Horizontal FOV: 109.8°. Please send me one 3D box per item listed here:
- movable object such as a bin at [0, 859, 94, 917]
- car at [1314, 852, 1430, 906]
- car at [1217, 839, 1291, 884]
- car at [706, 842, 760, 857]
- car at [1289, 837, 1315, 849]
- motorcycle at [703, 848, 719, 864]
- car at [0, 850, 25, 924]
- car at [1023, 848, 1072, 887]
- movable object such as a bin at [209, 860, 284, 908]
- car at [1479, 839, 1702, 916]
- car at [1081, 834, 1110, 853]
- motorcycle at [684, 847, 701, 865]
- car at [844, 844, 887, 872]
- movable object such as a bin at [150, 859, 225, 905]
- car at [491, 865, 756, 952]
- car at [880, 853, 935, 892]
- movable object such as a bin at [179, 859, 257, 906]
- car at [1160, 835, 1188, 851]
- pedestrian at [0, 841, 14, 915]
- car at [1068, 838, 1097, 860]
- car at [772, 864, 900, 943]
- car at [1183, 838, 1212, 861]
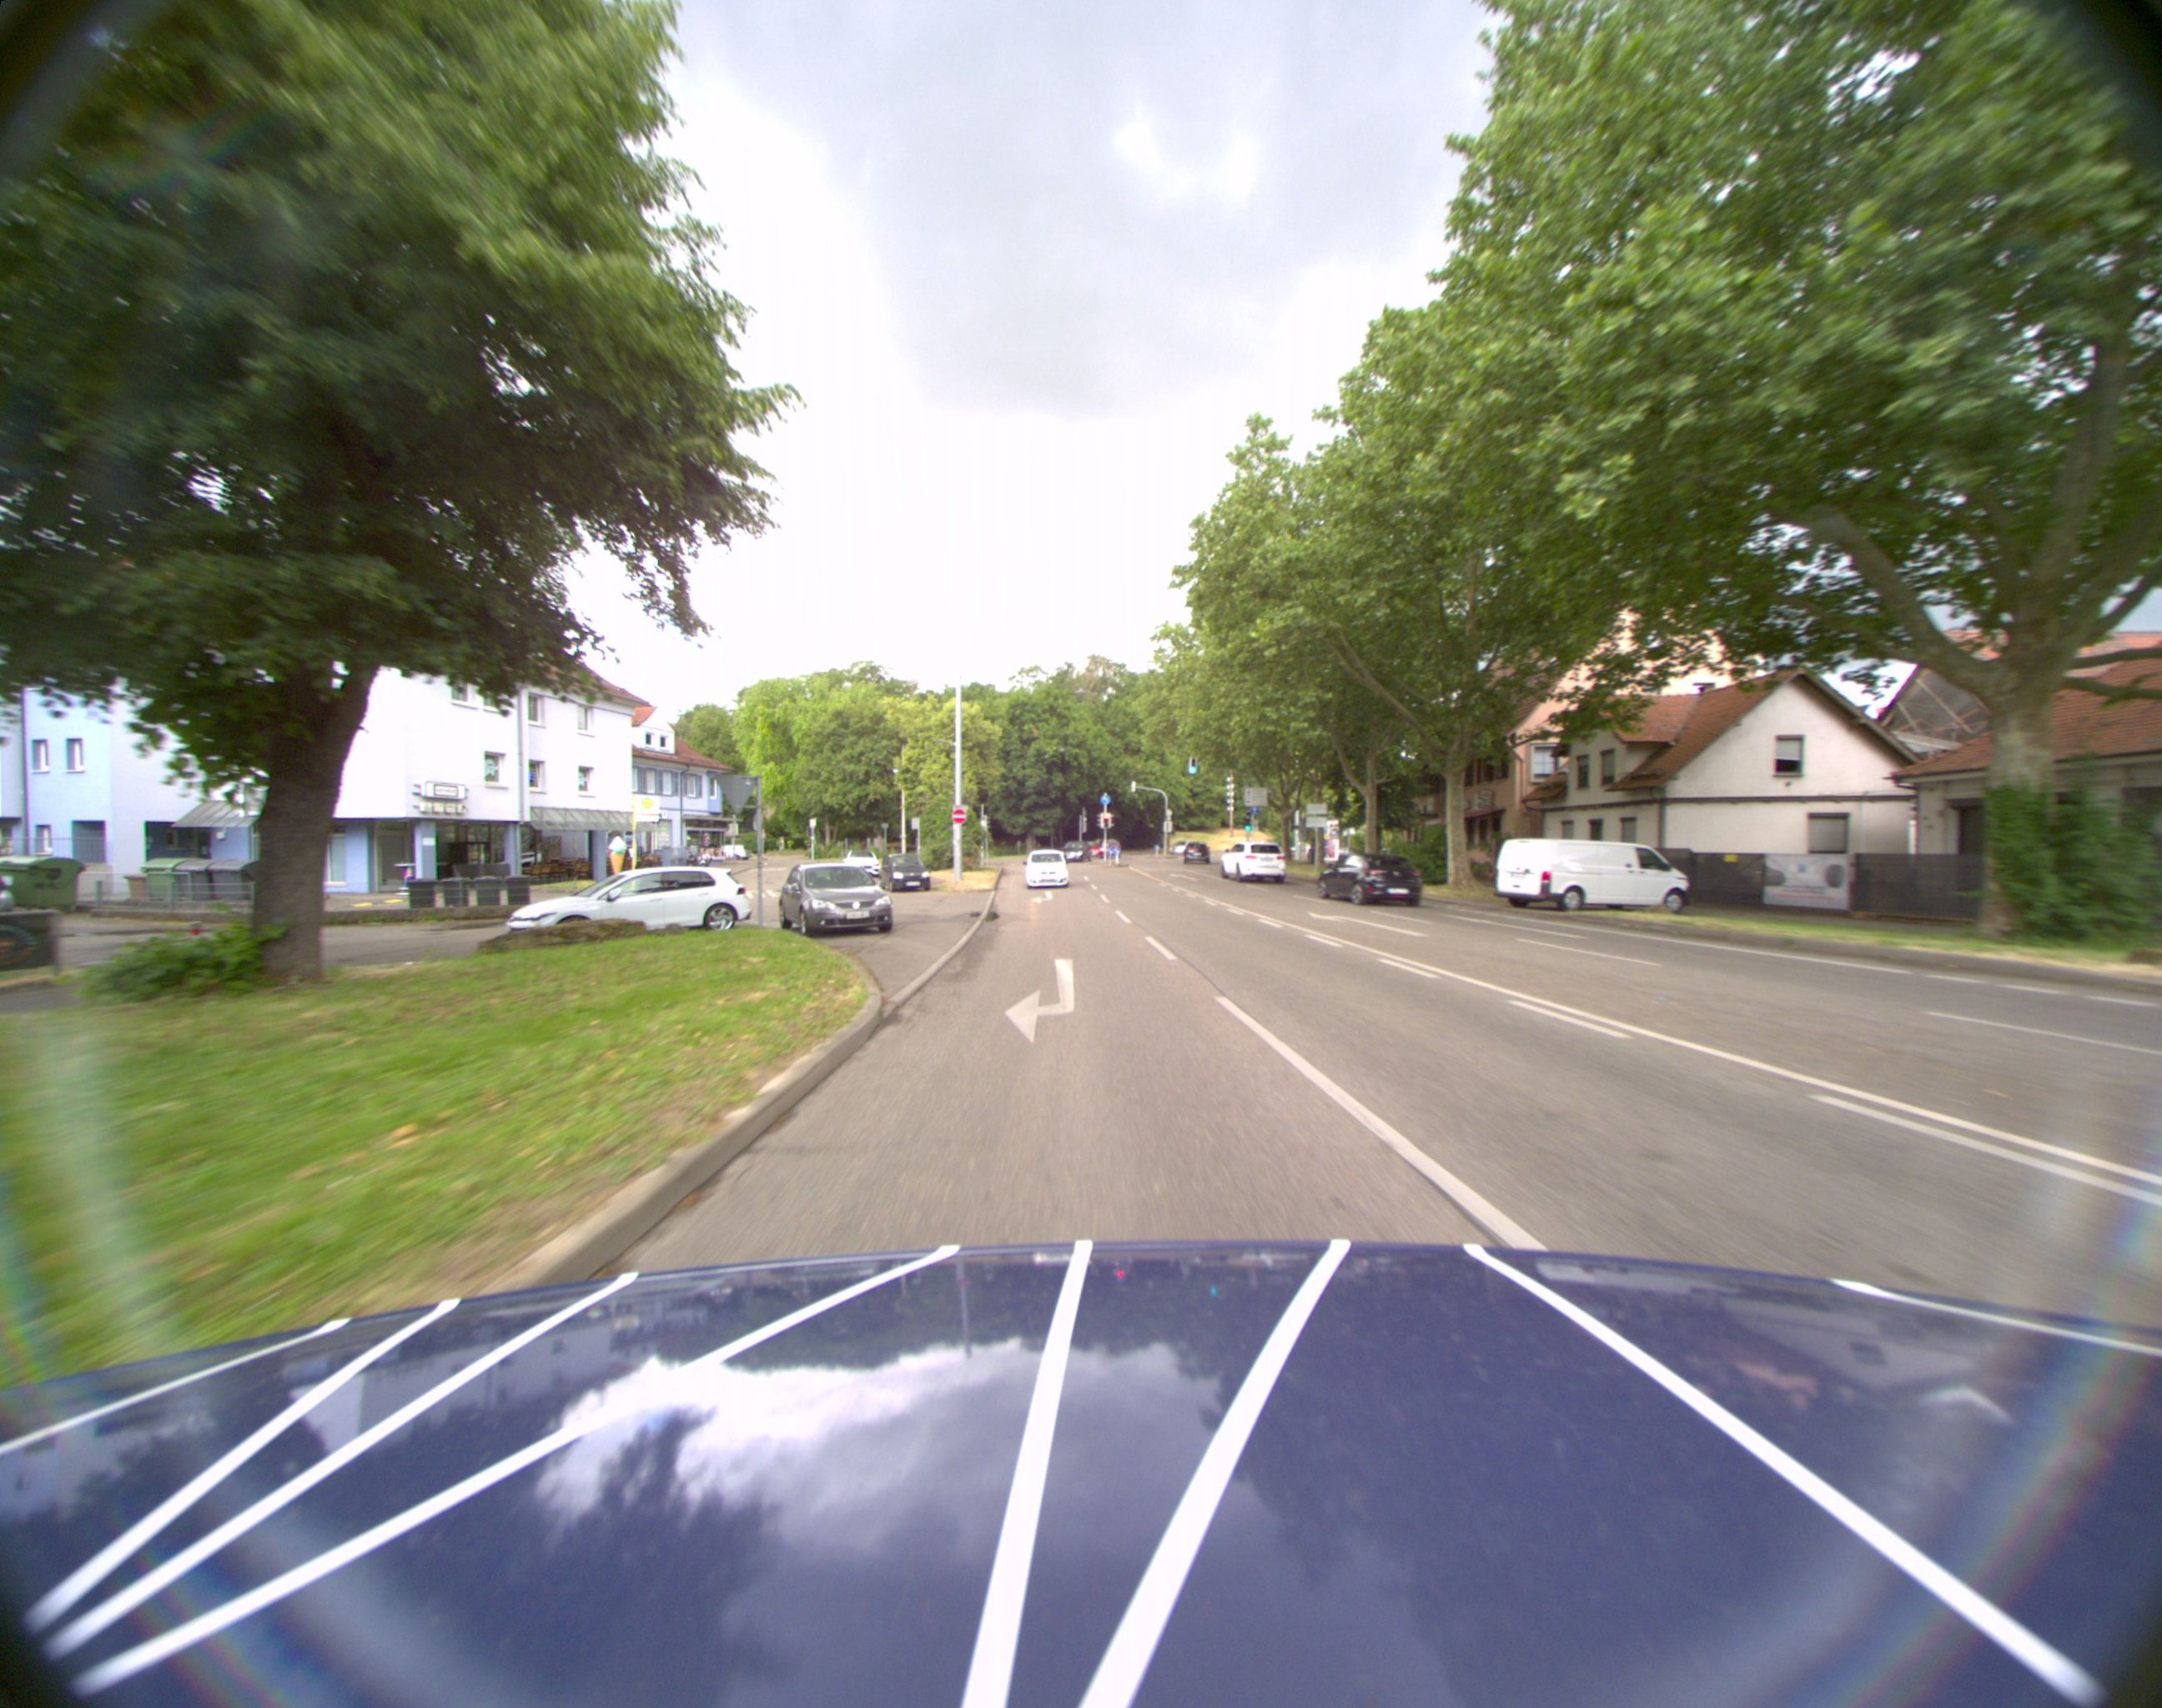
[{"bbox_3d":[-25.599,0.817,18.725,1.219,1.337,0.995,0,2,4],"label":"movable object such as a bin"},{"bbox_3d":[8.202,0.665,21.790,1.573,1.374,3.948,1,0,-4],"label":"car"},{"bbox_3d":[7.449,0.267,33.260,1.916,1.753,4.749,0,2,-3],"label":"car"},{"bbox_3d":[-34.142,-0.483,74.639,4.539,1.448,1.901,0,2,9],"label":"car"},{"bbox_3d":[27.961,-1.428,96.059,1.762,1.458,4.030,3,3,40],"label":"car"},{"bbox_3d":[-23.849,0.103,48.973,0.522,0.980,1.820,-1,2,-12],"label":"motorcycle"},{"bbox_3d":[-25.839,0.739,16.748,3.419,1.621,1.625,1,2,10],"label":"car"},{"bbox_3d":[-1.455,0.505,31.426,1.629,1.499,3.996,0,1,-8],"label":"car"},{"bbox_3d":[-26.232,0.913,23.902,1.216,1.408,1.095,1,2,13],"label":"movable object such as a bin"},{"bbox_3d":[13.996,0.627,20.954,5.246,1.920,2.081,2,1,-15],"label":"car"},{"bbox_3d":[1.356,-0.976,67.661,1.673,1.632,4.104,1,2,14],"label":"car"},{"bbox_3d":[-23.543,0.137,46.031,0.490,1.025,1.722,0,2,-12],"label":"motorcycle"},{"bbox_3d":[-12.512,0.181,43.937,2.002,1.379,4.778,0,2,-20],"label":"car"},{"bbox_3d":[-28.826,0.876,24.538,1.216,1.387,1.095,1,2,13],"label":"movable object such as a bin"},{"bbox_3d":[-9.099,0.983,15.385,1.759,1.373,4.270,1,2,45],"label":"car"},{"bbox_3d":[-6.941,0.686,30.218,1.575,1.396,3.487,-1,1,-22],"label":"car"},{"bbox_3d":[-27.544,0.892,24.265,1.216,1.387,1.162,1,2,13],"label":"movable object such as a bin"},{"bbox_3d":[10.073,-1.210,82.078,1.779,1.560,4.006,1,2,26],"label":"car"},{"bbox_3d":[-25.577,0.569,17.640,0.688,1.720,0.611,0,2,4],"label":"pedestrian"},{"bbox_3d":[0.132,-0.410,56.909,1.729,1.512,4.001,1,2,6],"label":"car"},{"bbox_3d":[-5.395,0.950,16.395,1.736,1.420,4.103,-1,0,-31],"label":"car"},{"bbox_3d":[8.592,-0.332,56.278,1.800,1.578,4.416,2,1,5],"label":"car"}]
